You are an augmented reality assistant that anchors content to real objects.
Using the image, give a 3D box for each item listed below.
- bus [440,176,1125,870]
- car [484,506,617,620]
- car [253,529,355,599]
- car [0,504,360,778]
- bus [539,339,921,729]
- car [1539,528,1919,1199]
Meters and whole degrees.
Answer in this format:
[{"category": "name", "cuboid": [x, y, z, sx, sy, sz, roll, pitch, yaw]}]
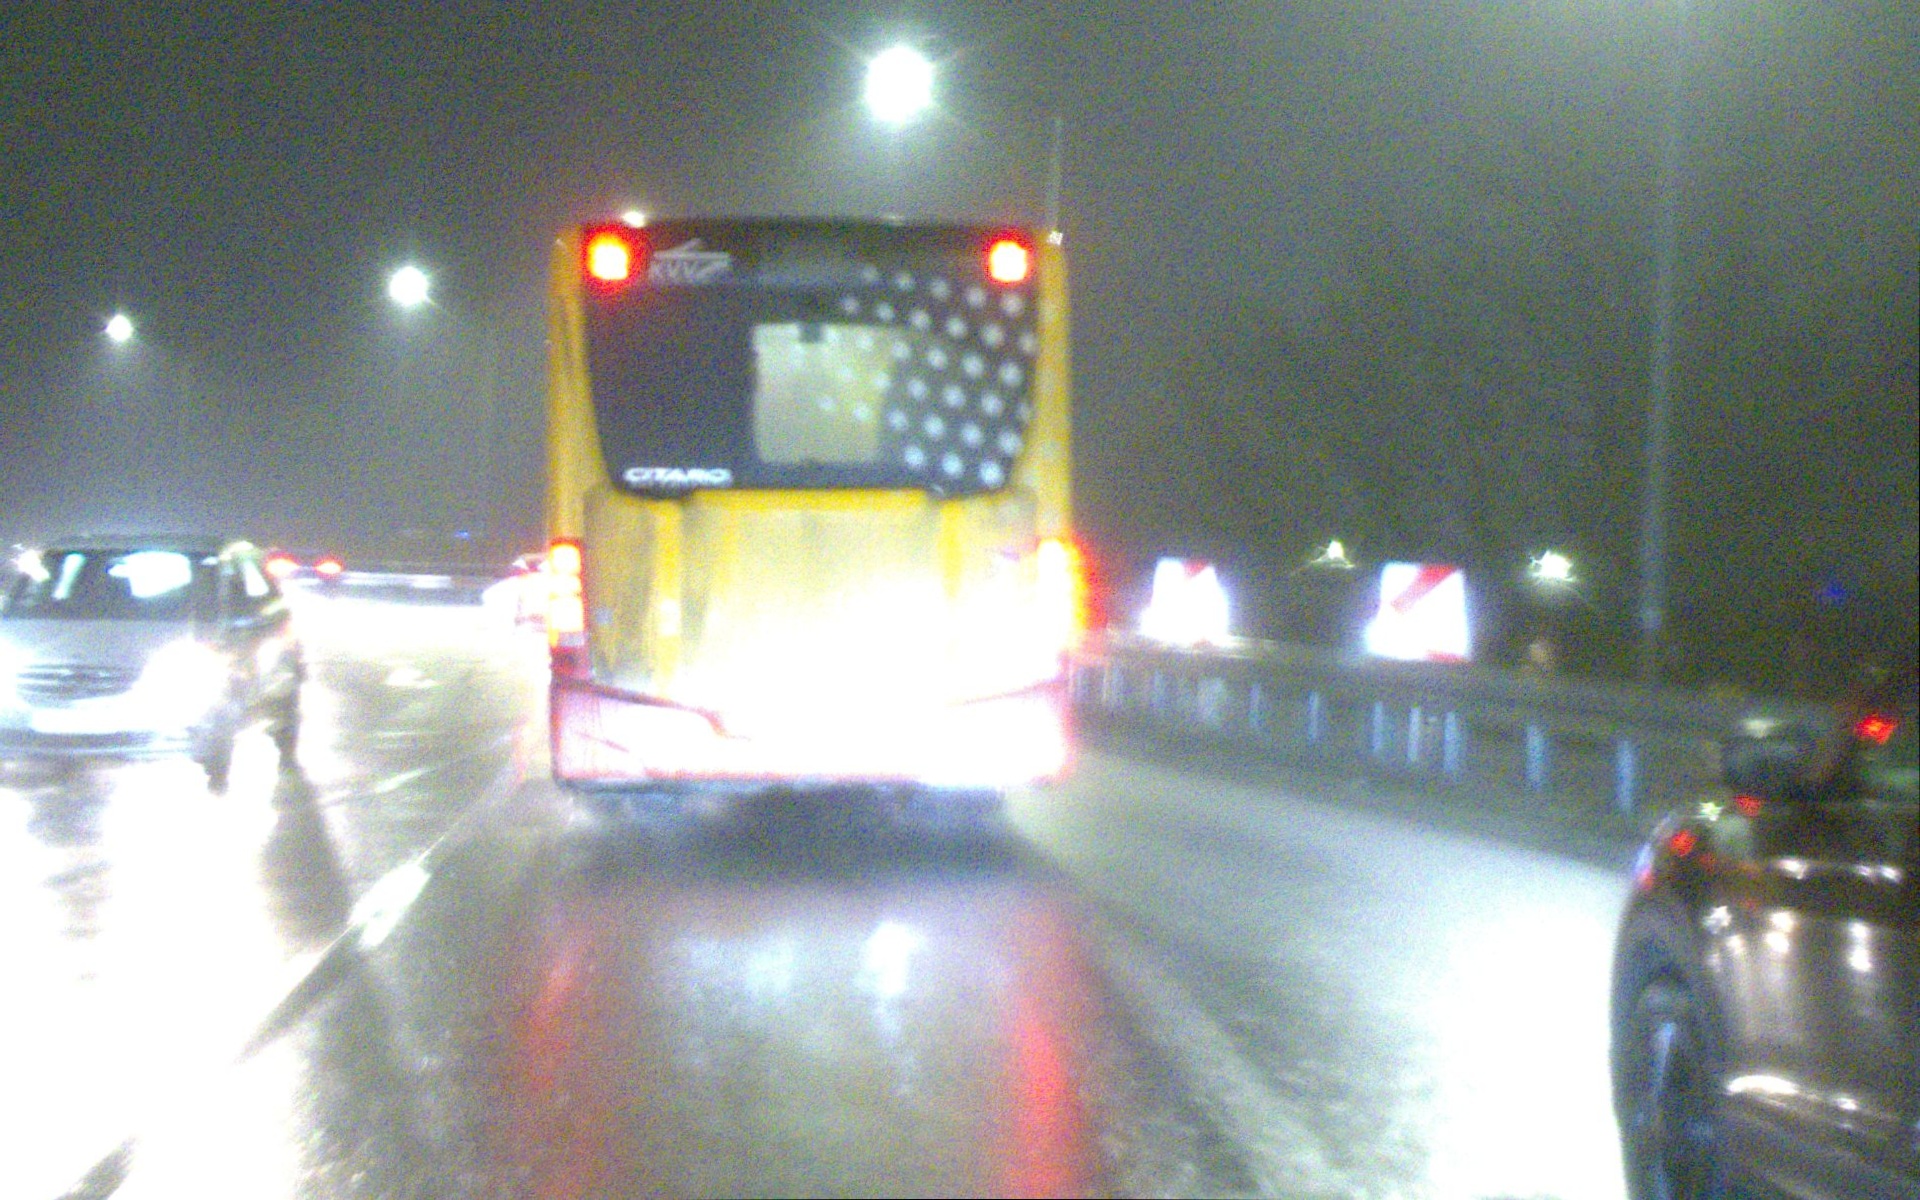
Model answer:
[{"category": "bus", "cuboid": [-1.301, -0.490, 22.032, 3.083, 3.122, 12.699, 1, 1, -5]}, {"category": "car", "cuboid": [-7.612, -0.706, 63.656, 1.993, 2.007, 4.001, 1, 1, -13]}, {"category": "car", "cuboid": [-17.400, -0.973, 91.040, 1.993, 1.733, 4.001, 1, 1, -20]}, {"category": "car", "cuboid": [-5.586, 0.209, 23.714, 1.999, 1.669, 4.617, 1, 1, 1]}, {"category": "bus", "cuboid": [-2.263, -0.614, 32.219, 3.048, 3.121, 8.080, 1, 1, -5]}, {"category": "car", "cuboid": [2.424, 0.669, 5.934, 1.855, 1.581, 4.001, 0, 1, -5]}]
